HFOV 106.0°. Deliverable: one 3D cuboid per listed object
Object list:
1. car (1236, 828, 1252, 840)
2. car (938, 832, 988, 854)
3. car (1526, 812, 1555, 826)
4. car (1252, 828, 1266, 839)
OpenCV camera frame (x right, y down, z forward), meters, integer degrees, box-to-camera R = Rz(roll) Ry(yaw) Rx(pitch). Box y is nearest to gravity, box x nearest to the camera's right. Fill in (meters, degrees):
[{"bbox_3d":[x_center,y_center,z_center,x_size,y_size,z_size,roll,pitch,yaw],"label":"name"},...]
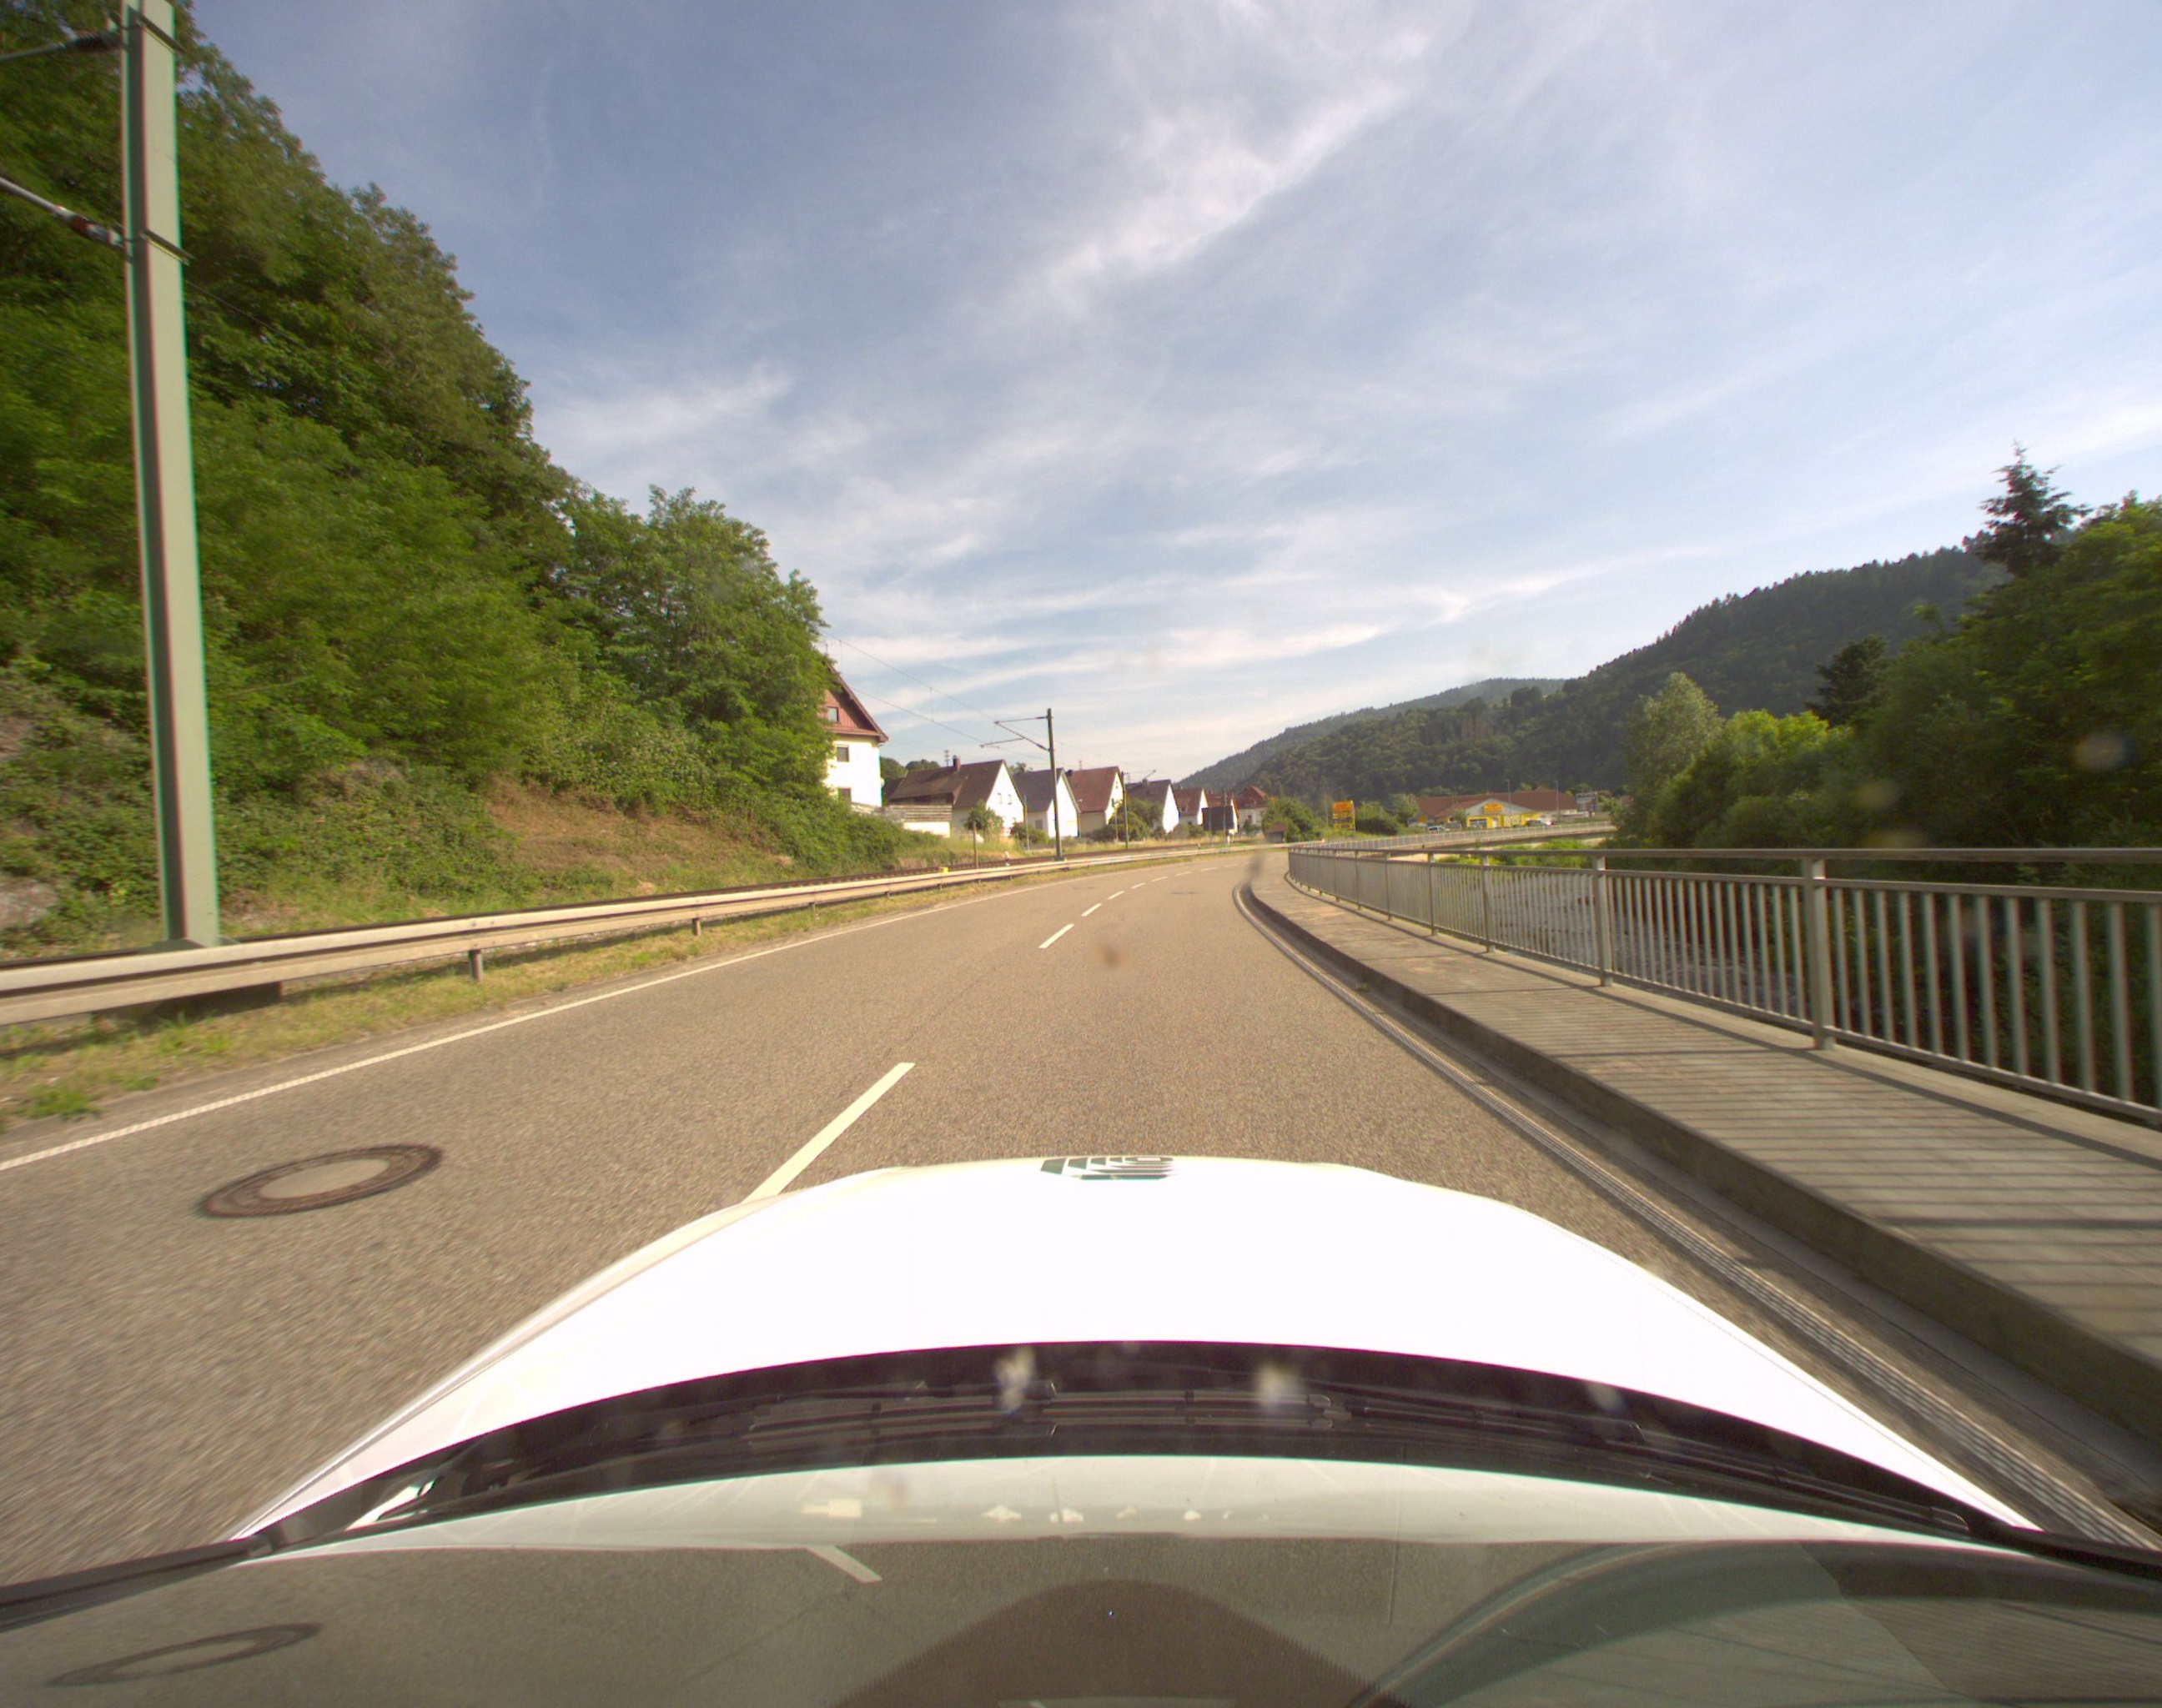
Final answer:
[{"bbox_3d":[28.984,-3.553,144.822,1.977,1.881,4.022,4,2,22],"label":"car"},{"bbox_3d":[-10.102,-0.959,69.599,4.021,1.674,1.641,-3,4,-15],"label":"car"},{"bbox_3d":[79.779,-6.074,141.495,2.007,2.014,3.960,2,-1,-32],"label":"car"},{"bbox_3d":[34.419,-3.984,157.483,1.977,1.881,4.022,4,2,22],"label":"car"}]
